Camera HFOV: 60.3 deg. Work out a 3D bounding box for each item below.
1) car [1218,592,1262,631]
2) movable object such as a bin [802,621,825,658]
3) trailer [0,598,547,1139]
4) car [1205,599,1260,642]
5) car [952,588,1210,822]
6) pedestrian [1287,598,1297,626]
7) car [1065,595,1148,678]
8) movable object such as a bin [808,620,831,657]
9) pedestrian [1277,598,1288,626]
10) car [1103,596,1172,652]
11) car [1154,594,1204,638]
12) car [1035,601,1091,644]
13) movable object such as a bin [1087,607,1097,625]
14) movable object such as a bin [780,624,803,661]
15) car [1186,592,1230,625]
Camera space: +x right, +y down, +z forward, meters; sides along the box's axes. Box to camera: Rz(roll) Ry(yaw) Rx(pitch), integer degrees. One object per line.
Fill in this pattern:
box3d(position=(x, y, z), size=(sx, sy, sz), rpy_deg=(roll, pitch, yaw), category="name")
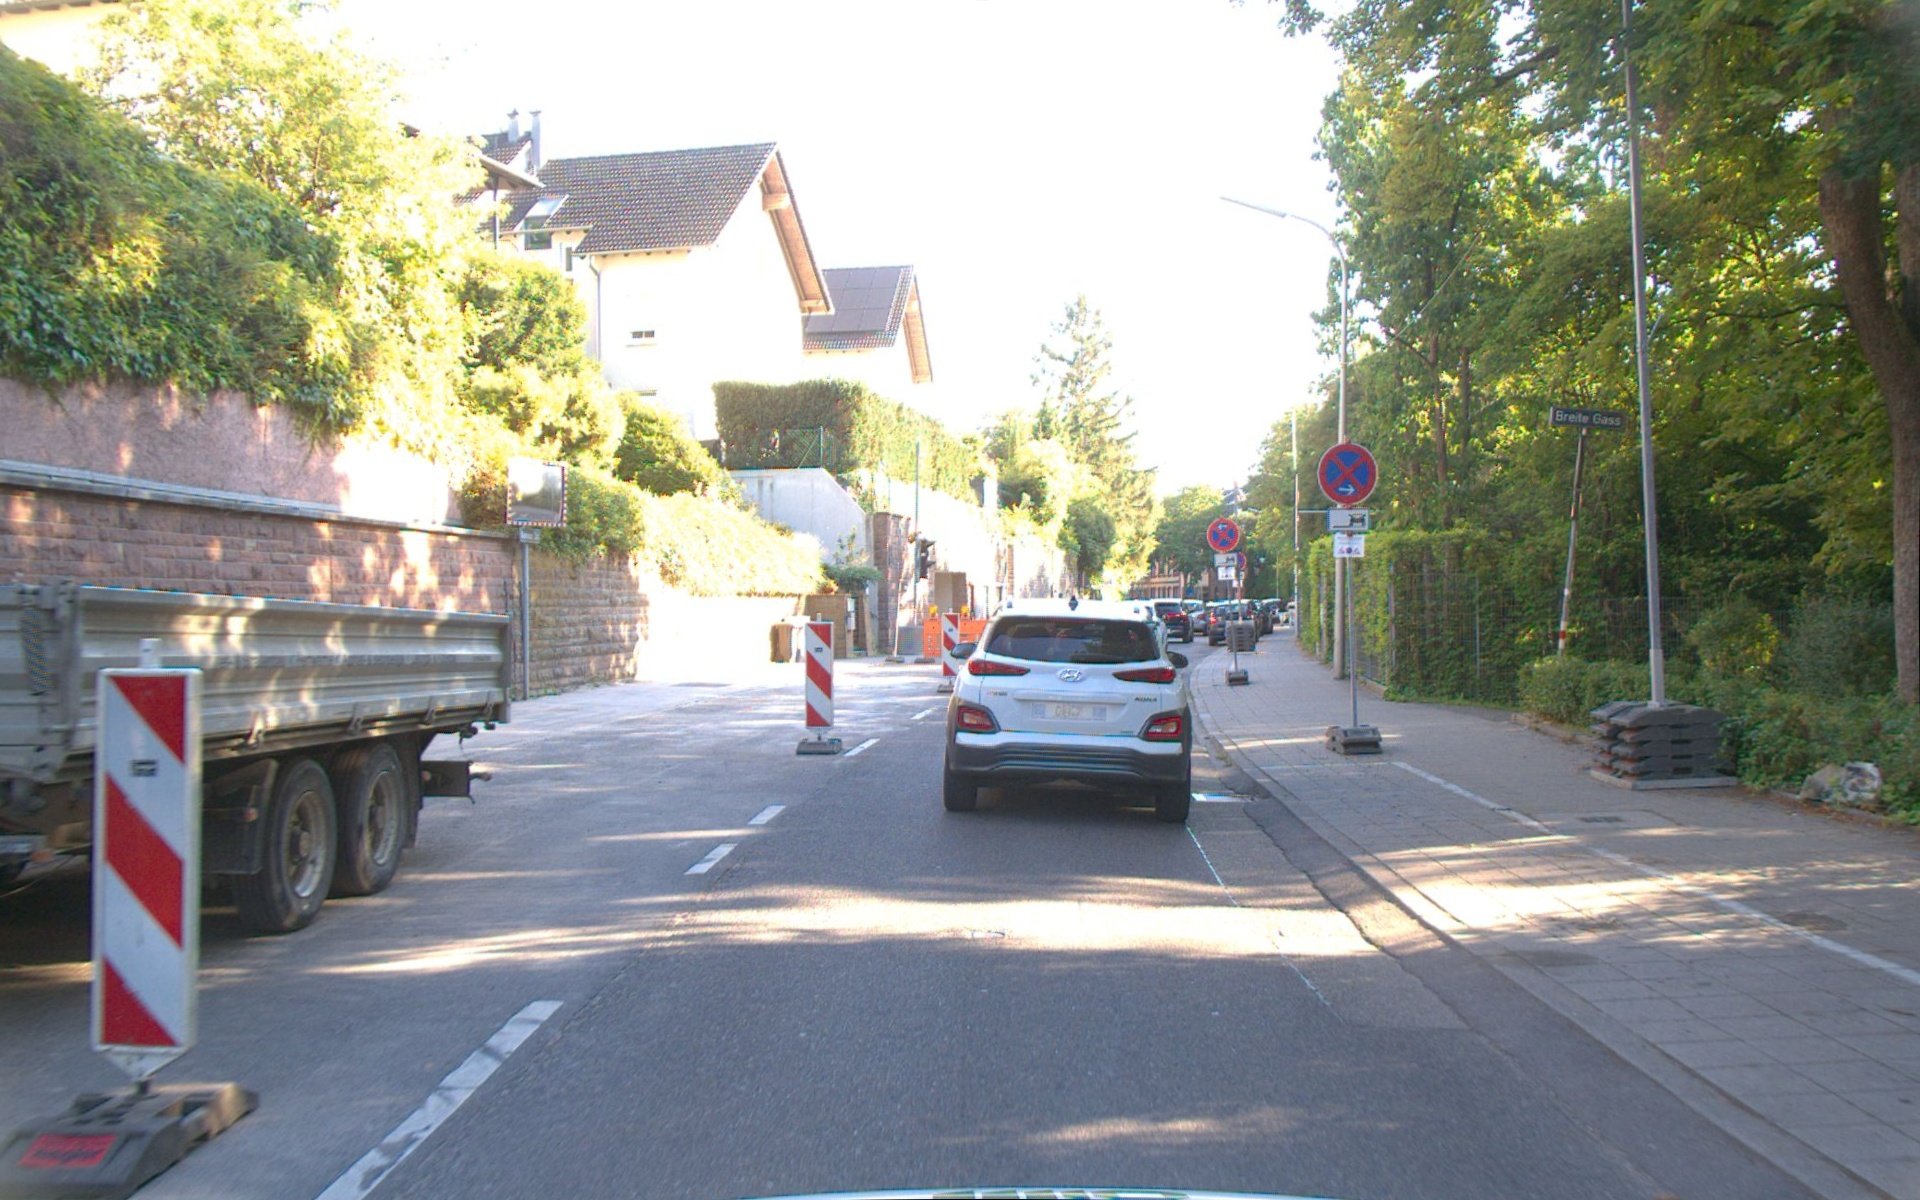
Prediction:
box3d(position=(11.707, 0.479, 69.112), size=(1.617, 1.591, 2.875), rpy_deg=(0, 0, 14), category="car")
box3d(position=(-3.627, 0.978, 40.948), size=(0.446, 0.899, 0.501), rpy_deg=(0, 0, 10), category="movable object such as a bin")
box3d(position=(-3.969, 0.753, 6.972), size=(2.585, 1.515, 7.119), rpy_deg=(1, 0, 1), category="trailer")
box3d(position=(9.743, 0.710, 58.988), size=(1.756, 1.466, 4.003), rpy_deg=(-1, 0, 11), category="car")
box3d(position=(0.904, 0.715, 13.268), size=(1.735, 1.569, 4.001), rpy_deg=(1, 0, 2), category="car")
box3d(position=(19.257, 0.683, 95.854), size=(0.492, 1.596, 0.504), rpy_deg=(-3, -1, 12), category="pedestrian")
box3d(position=(3.017, 0.699, 33.553), size=(1.479, 1.560, 3.551), rpy_deg=(-1, 0, 8), category="car")
box3d(position=(-3.528, 0.965, 41.468), size=(0.446, 0.899, 0.501), rpy_deg=(0, 0, 10), category="movable object such as a bin")
box3d(position=(18.733, 0.687, 96.094), size=(0.492, 1.634, 0.491), rpy_deg=(-3, -1, 12), category="pedestrian")
box3d(position=(5.000, 0.648, 46.264), size=(1.537, 1.503, 3.551), rpy_deg=(0, 0, 12), category="car")
box3d(position=(8.171, 0.572, 61.504), size=(1.657, 1.560, 3.885), rpy_deg=(0, 0, 11), category="car")
box3d(position=(3.736, 0.791, 59.451), size=(1.592, 1.447, 3.566), rpy_deg=(-1, 0, 10), category="car")
box3d(position=(7.229, 0.879, 90.679), size=(0.479, 0.981, 0.584), rpy_deg=(1, 0, 10), category="movable object such as a bin")
box3d(position=(-3.963, 0.994, 38.947), size=(0.444, 0.848, 0.392), rpy_deg=(0, 0, 10), category="movable object such as a bin")
box3d(position=(11.384, 0.397, 75.809), size=(1.657, 1.472, 3.884), rpy_deg=(0, 0, 14), category="car")
